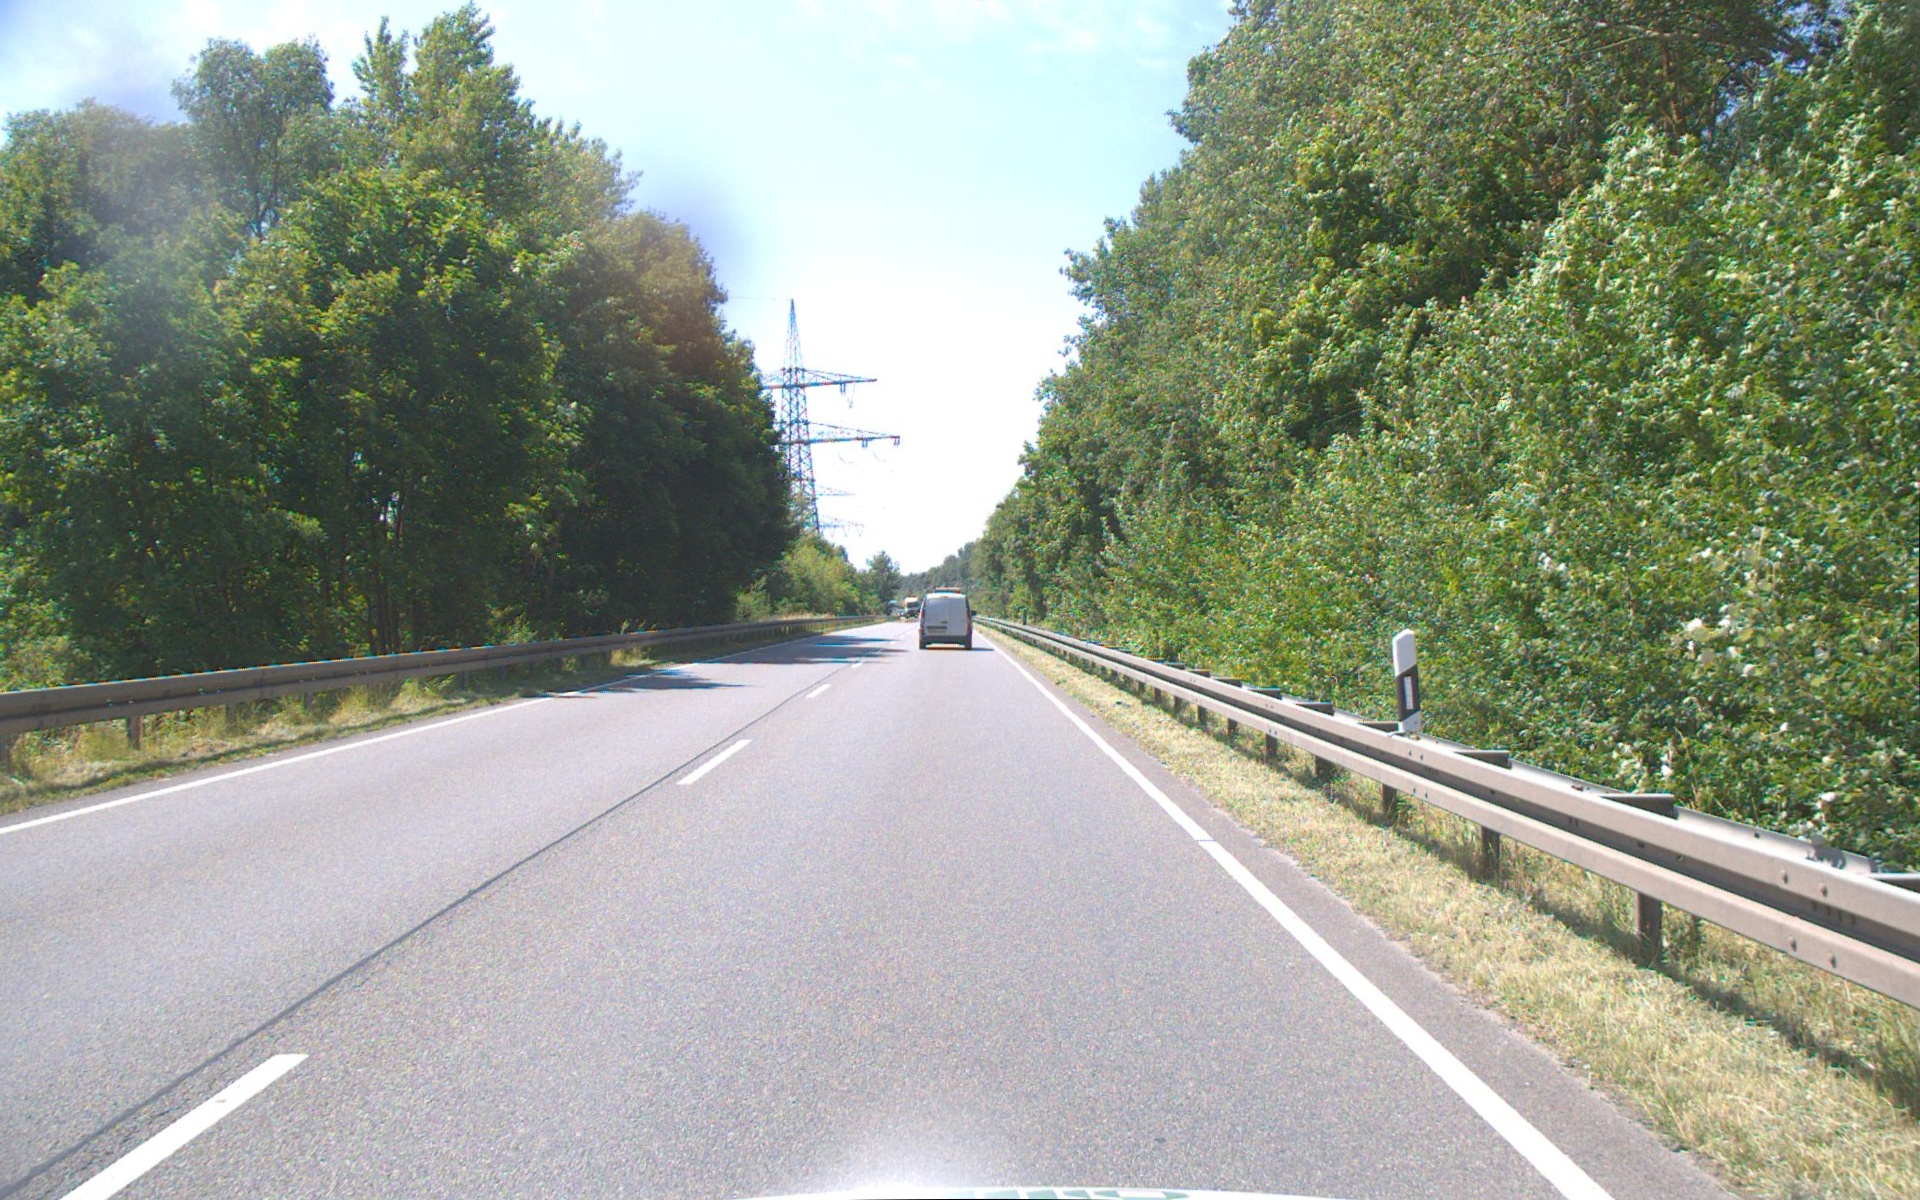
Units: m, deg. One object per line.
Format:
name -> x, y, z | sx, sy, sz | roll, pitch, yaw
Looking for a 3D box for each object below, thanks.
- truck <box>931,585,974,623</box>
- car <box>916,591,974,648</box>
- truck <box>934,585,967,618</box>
truck -> -0.775, 0.313, 149.981 | 3.231, 3.227, 14.397 | 1, 0, -3
car -> -0.501, 0.596, 54.553 | 1.837, 1.772, 3.999 | 1, 0, -1
truck -> -1.264, 0.149, 208.863 | 3.334, 3.922, 16.808 | 1, 0, -3
